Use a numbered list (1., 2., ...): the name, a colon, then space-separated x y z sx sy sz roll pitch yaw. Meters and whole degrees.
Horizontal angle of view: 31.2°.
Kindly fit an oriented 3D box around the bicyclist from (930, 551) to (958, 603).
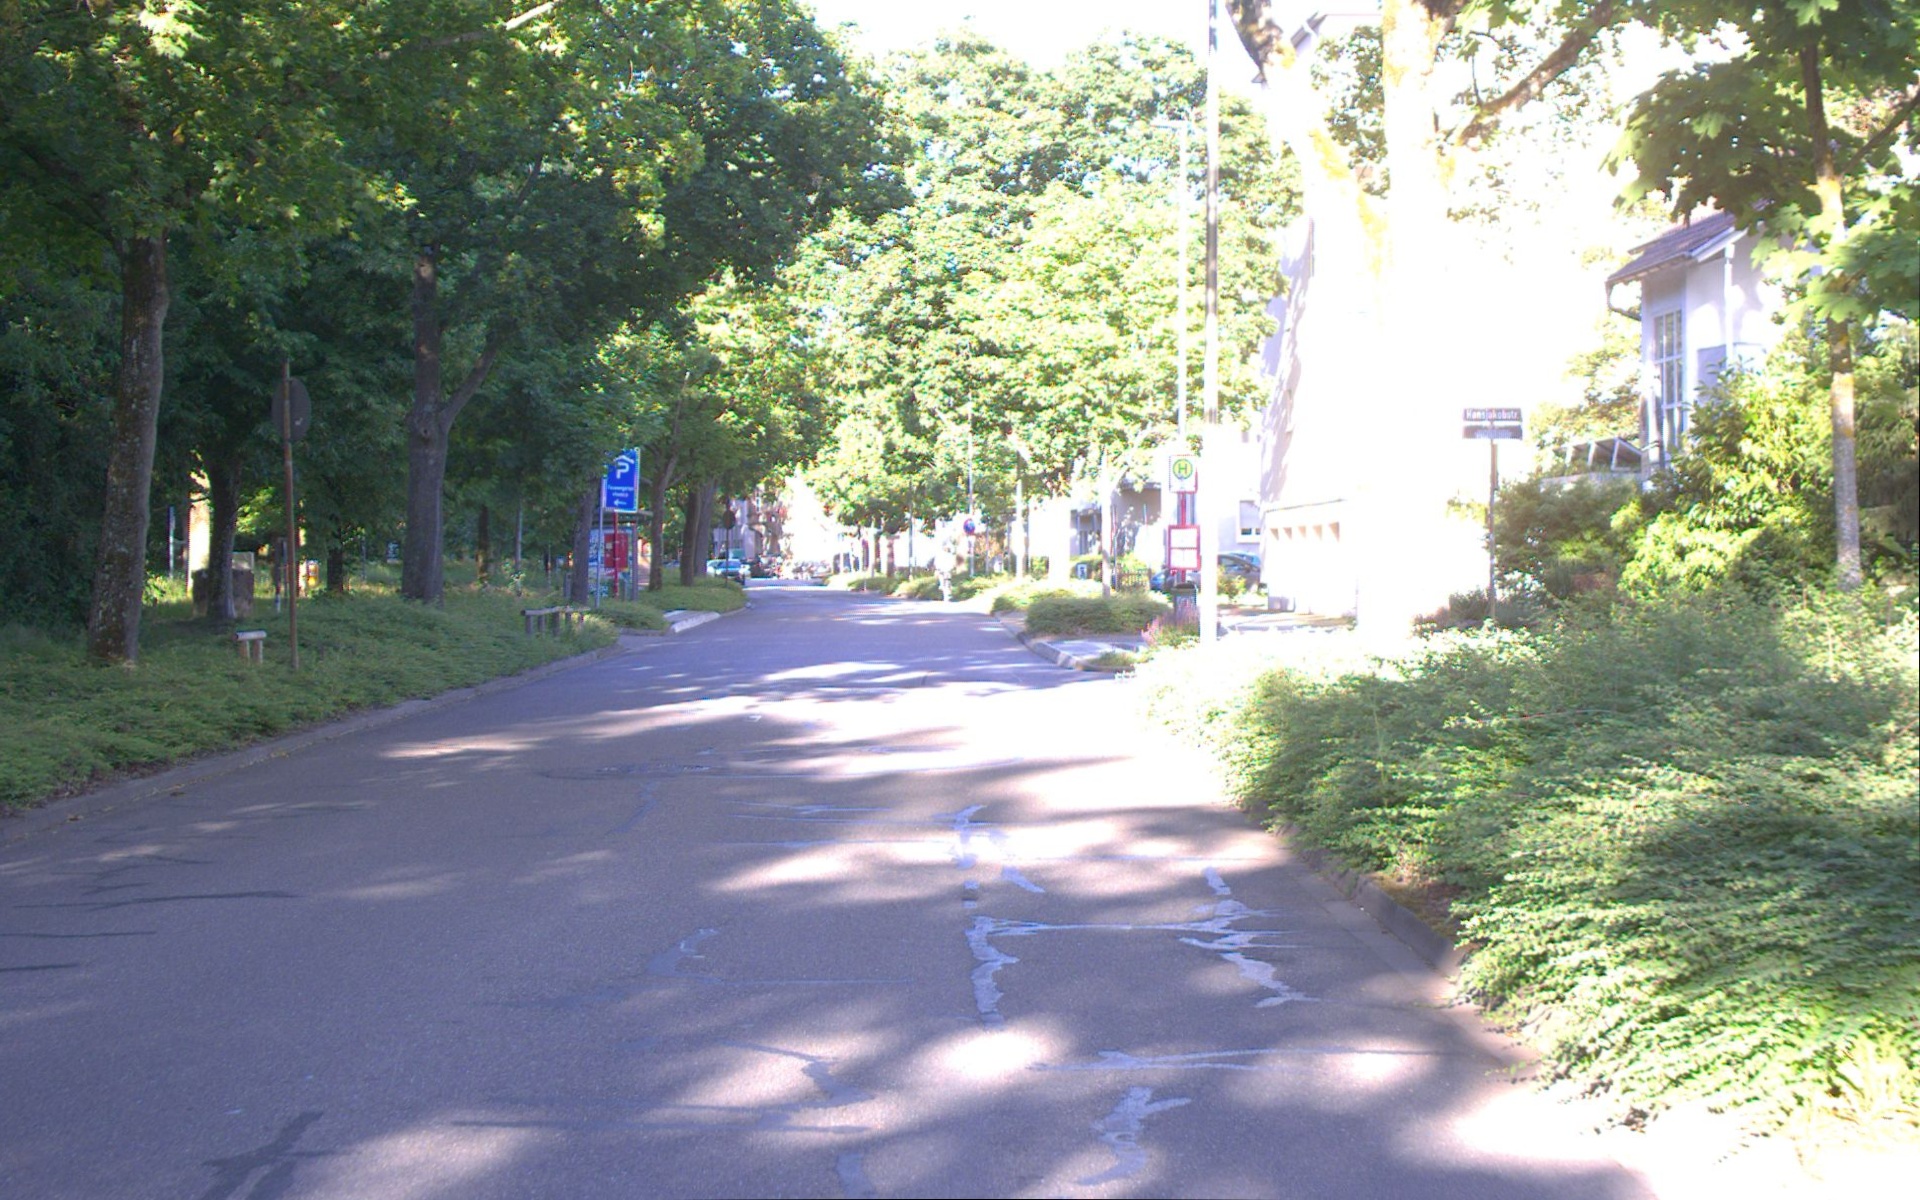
1. bicyclist: -0.512 -0.742 110.177 0.867 1.635 1.115 1 2 -1

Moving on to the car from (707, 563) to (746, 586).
1. car: -14.379 -1.592 211.469 1.993 1.349 3.541 1 1 -10

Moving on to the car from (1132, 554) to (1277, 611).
1. car: 7.603 -0.553 106.783 4.351 1.349 2.143 4 4 6

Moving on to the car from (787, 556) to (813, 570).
1. car: -11.821 -2.753 253.942 1.838 0.988 3.820 1 1 -2

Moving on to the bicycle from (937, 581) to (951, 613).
1. bicycle: -0.527 -0.089 110.118 0.439 0.975 1.661 0 2 -1
